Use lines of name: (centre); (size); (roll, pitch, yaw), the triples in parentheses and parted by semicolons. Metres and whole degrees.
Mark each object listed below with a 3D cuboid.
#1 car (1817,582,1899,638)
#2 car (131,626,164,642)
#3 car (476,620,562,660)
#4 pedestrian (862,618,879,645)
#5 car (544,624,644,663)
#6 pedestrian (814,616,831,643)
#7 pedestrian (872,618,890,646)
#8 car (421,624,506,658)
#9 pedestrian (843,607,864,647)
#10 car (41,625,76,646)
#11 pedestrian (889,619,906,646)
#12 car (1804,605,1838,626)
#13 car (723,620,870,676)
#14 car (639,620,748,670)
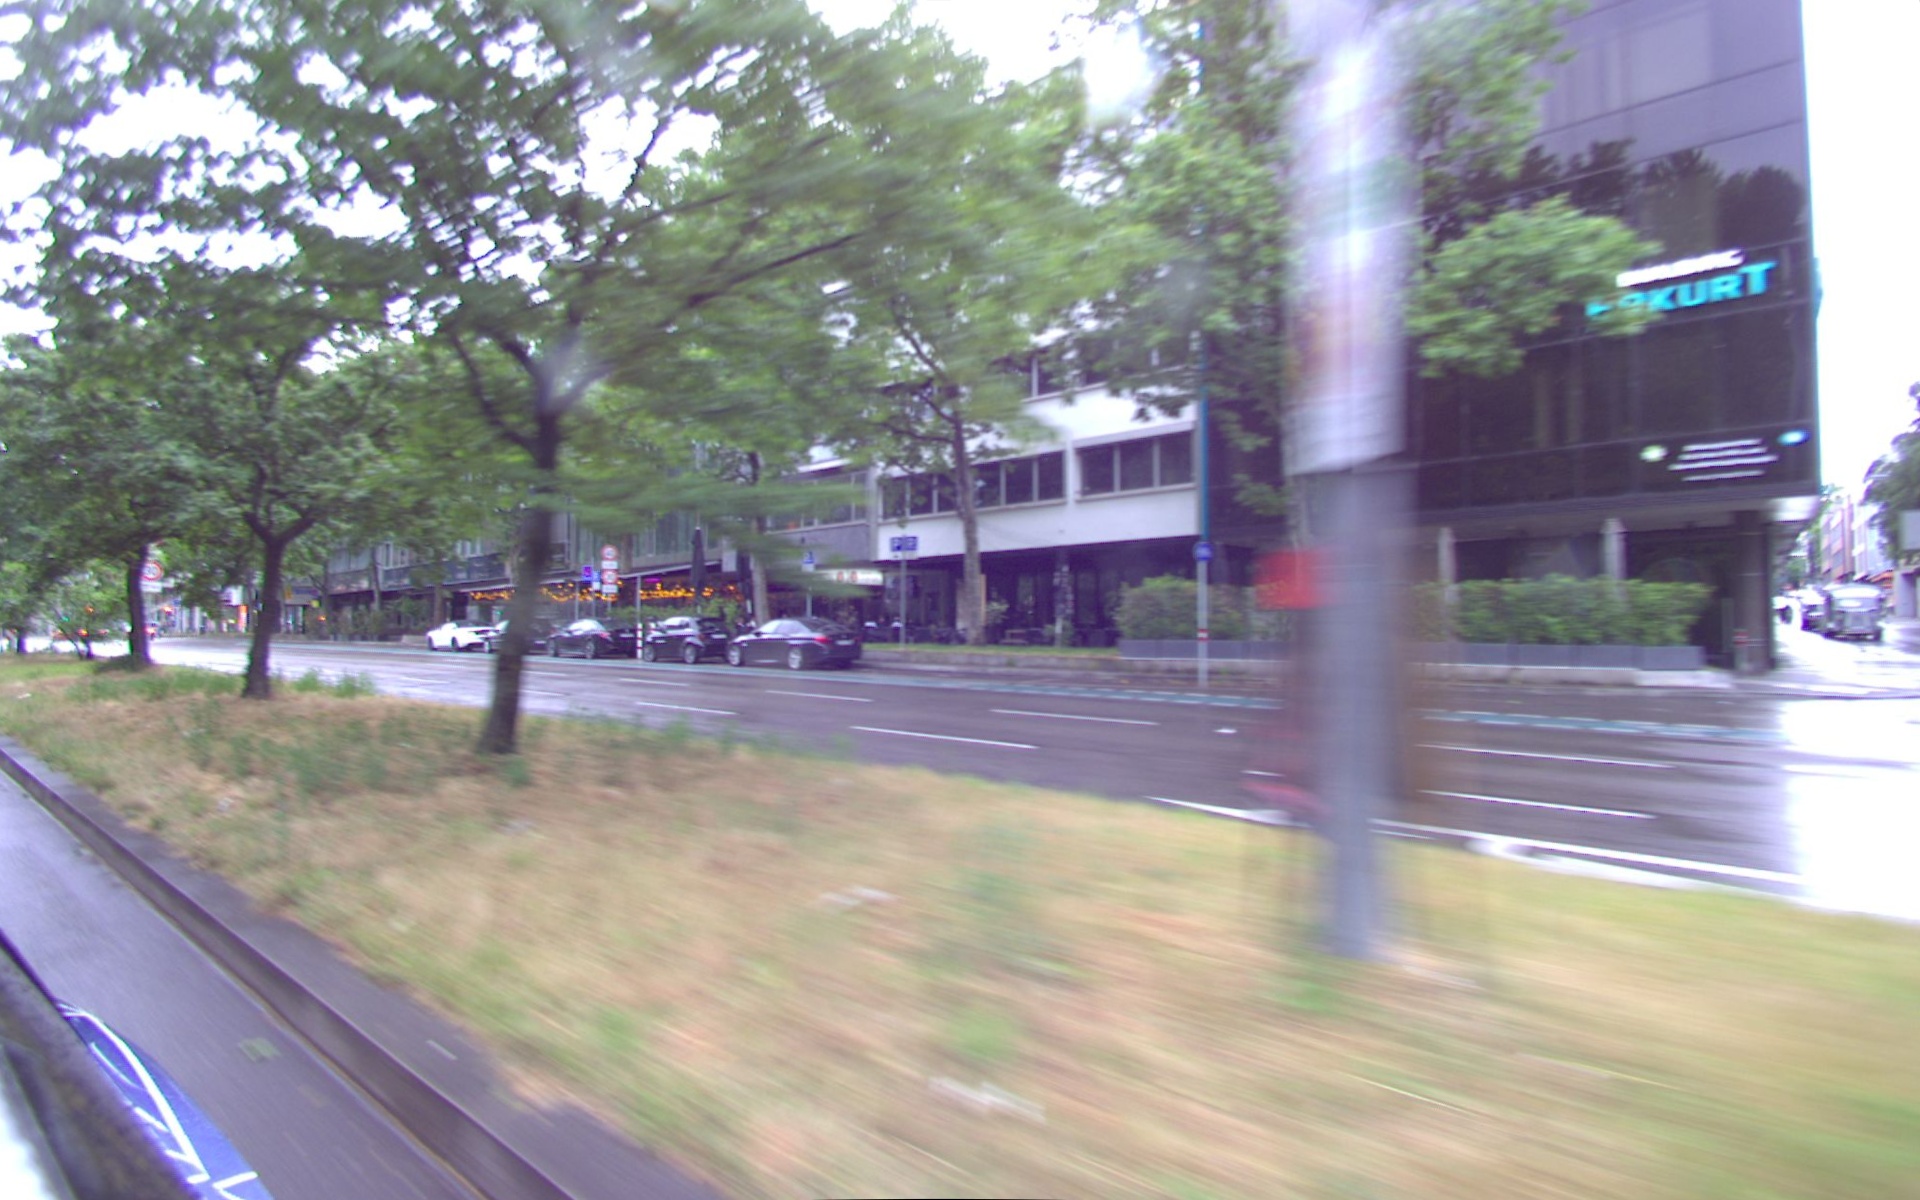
car: (40.498, 0.388, 45.802); (2.247, 2.341, 6.680); (-1, 0, 37)
car: (-73.114, 3.045, 91.041); (3.737, 1.335, 1.742); (0, 0, 42)
car: (-17.769, 1.586, 40.706); (3.788, 1.464, 1.727); (0, 0, 42)
pedestrian: (-3.361, 1.168, 37.856); (0.461, 1.000, 0.455); (-1, 0, 25)
car: (-13.299, 1.546, 36.648); (4.318, 1.249, 1.626); (0, 0, 43)
pedestrian: (-5.404, 1.150, 39.766); (0.423, 1.024, 0.459); (-1, 0, 38)
pedestrian: (-2.919, 1.183, 37.575); (0.488, 1.008, 0.481); (-1, 0, 25)
car: (-21.900, 1.762, 44.548); (4.391, 1.336, 1.856); (0, 0, 42)
pedestrian: (-4.490, 1.137, 42.747); (0.623, 1.660, 0.599); (-1, 0, 37)
car: (-82.799, 3.233, 92.937); (3.954, 1.799, 1.913); (0, 0, 42)
pedestrian: (-2.308, 1.206, 37.291); (0.451, 0.970, 0.454); (-1, 0, 25)
car: (48.978, 0.879, 57.603); (1.253, 1.141, 2.586); (-1, 0, 36)
car: (-4.777, 1.310, 29.084); (4.539, 1.396, 1.850); (0, 0, 44)
car: (-8.613, 1.397, 32.597); (3.399, 1.433, 1.851); (0, 0, 42)
